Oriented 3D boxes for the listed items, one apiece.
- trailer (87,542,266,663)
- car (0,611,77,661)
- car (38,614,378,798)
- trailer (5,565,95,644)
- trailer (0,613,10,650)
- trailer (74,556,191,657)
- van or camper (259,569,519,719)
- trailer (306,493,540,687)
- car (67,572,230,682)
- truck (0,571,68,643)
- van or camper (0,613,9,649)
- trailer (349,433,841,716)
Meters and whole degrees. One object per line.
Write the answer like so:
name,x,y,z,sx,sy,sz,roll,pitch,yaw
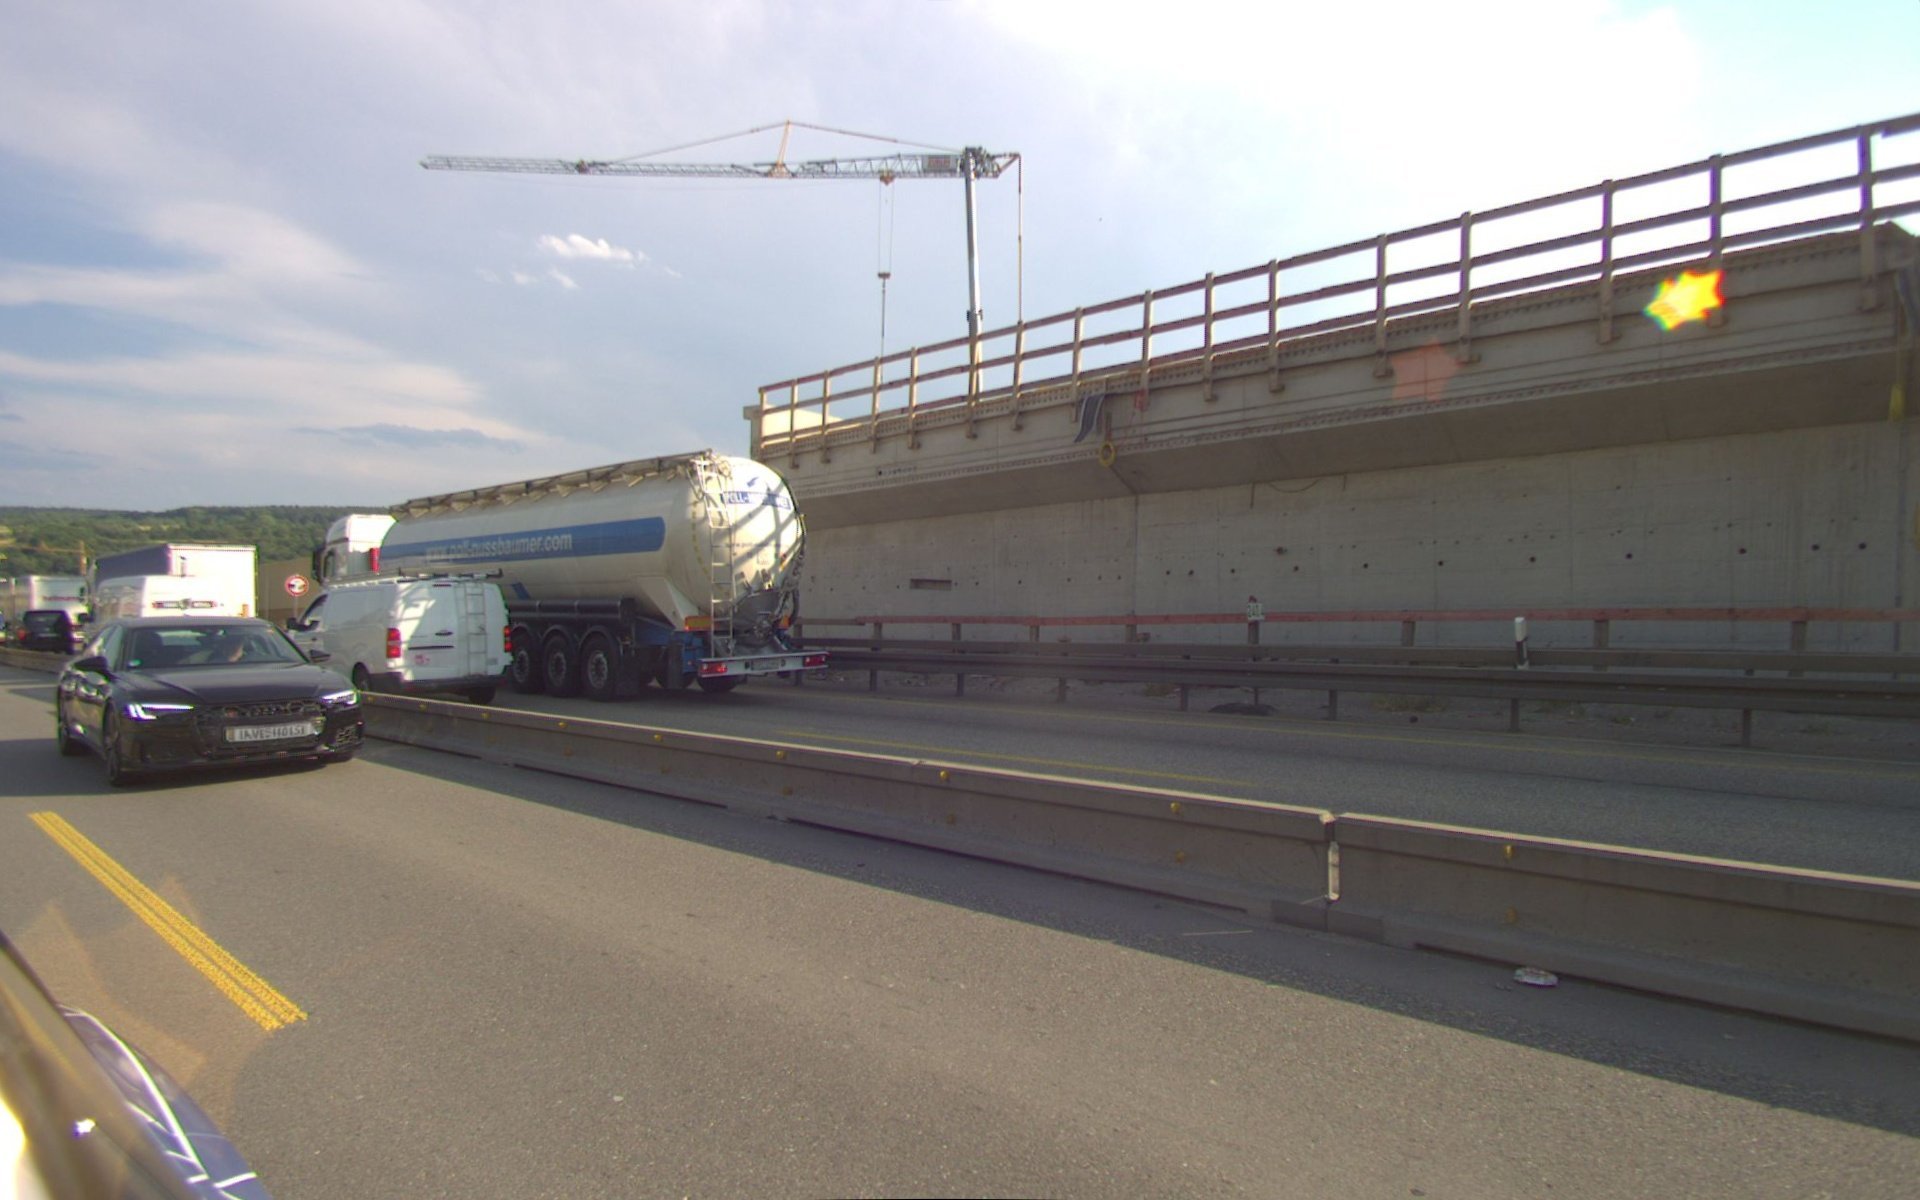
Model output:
trailer,-31.041,0.177,39.699,13.766,4.067,2.895,-1,0,41
car,-36.602,1.394,40.089,4.850,1.857,1.762,-1,0,41
car,-7.641,0.884,10.118,4.346,1.430,1.849,-1,-1,41
trailer,-52.915,0.292,58.763,8.731,4.315,2.798,-1,0,41
trailer,-50.159,1.638,52.155,2.982,1.868,1.433,-1,0,41
trailer,-36.098,0.284,44.093,6.219,4.067,2.895,-1,0,41
van or camper,-9.231,0.625,16.134,5.291,2.029,1.839,-1,0,40
trailer,-12.545,-0.165,23.402,6.426,3.879,2.625,-1,0,41
car,-22.226,0.705,27.550,7.403,2.642,1.974,-1,0,40
truck,-59.975,0.462,64.950,10.067,4.296,2.798,-1,0,41
van or camper,-53.135,1.701,54.862,5.001,1.906,1.844,-1,0,41
trailer,-7.803,-0.265,19.298,13.436,3.879,2.625,-1,0,41
